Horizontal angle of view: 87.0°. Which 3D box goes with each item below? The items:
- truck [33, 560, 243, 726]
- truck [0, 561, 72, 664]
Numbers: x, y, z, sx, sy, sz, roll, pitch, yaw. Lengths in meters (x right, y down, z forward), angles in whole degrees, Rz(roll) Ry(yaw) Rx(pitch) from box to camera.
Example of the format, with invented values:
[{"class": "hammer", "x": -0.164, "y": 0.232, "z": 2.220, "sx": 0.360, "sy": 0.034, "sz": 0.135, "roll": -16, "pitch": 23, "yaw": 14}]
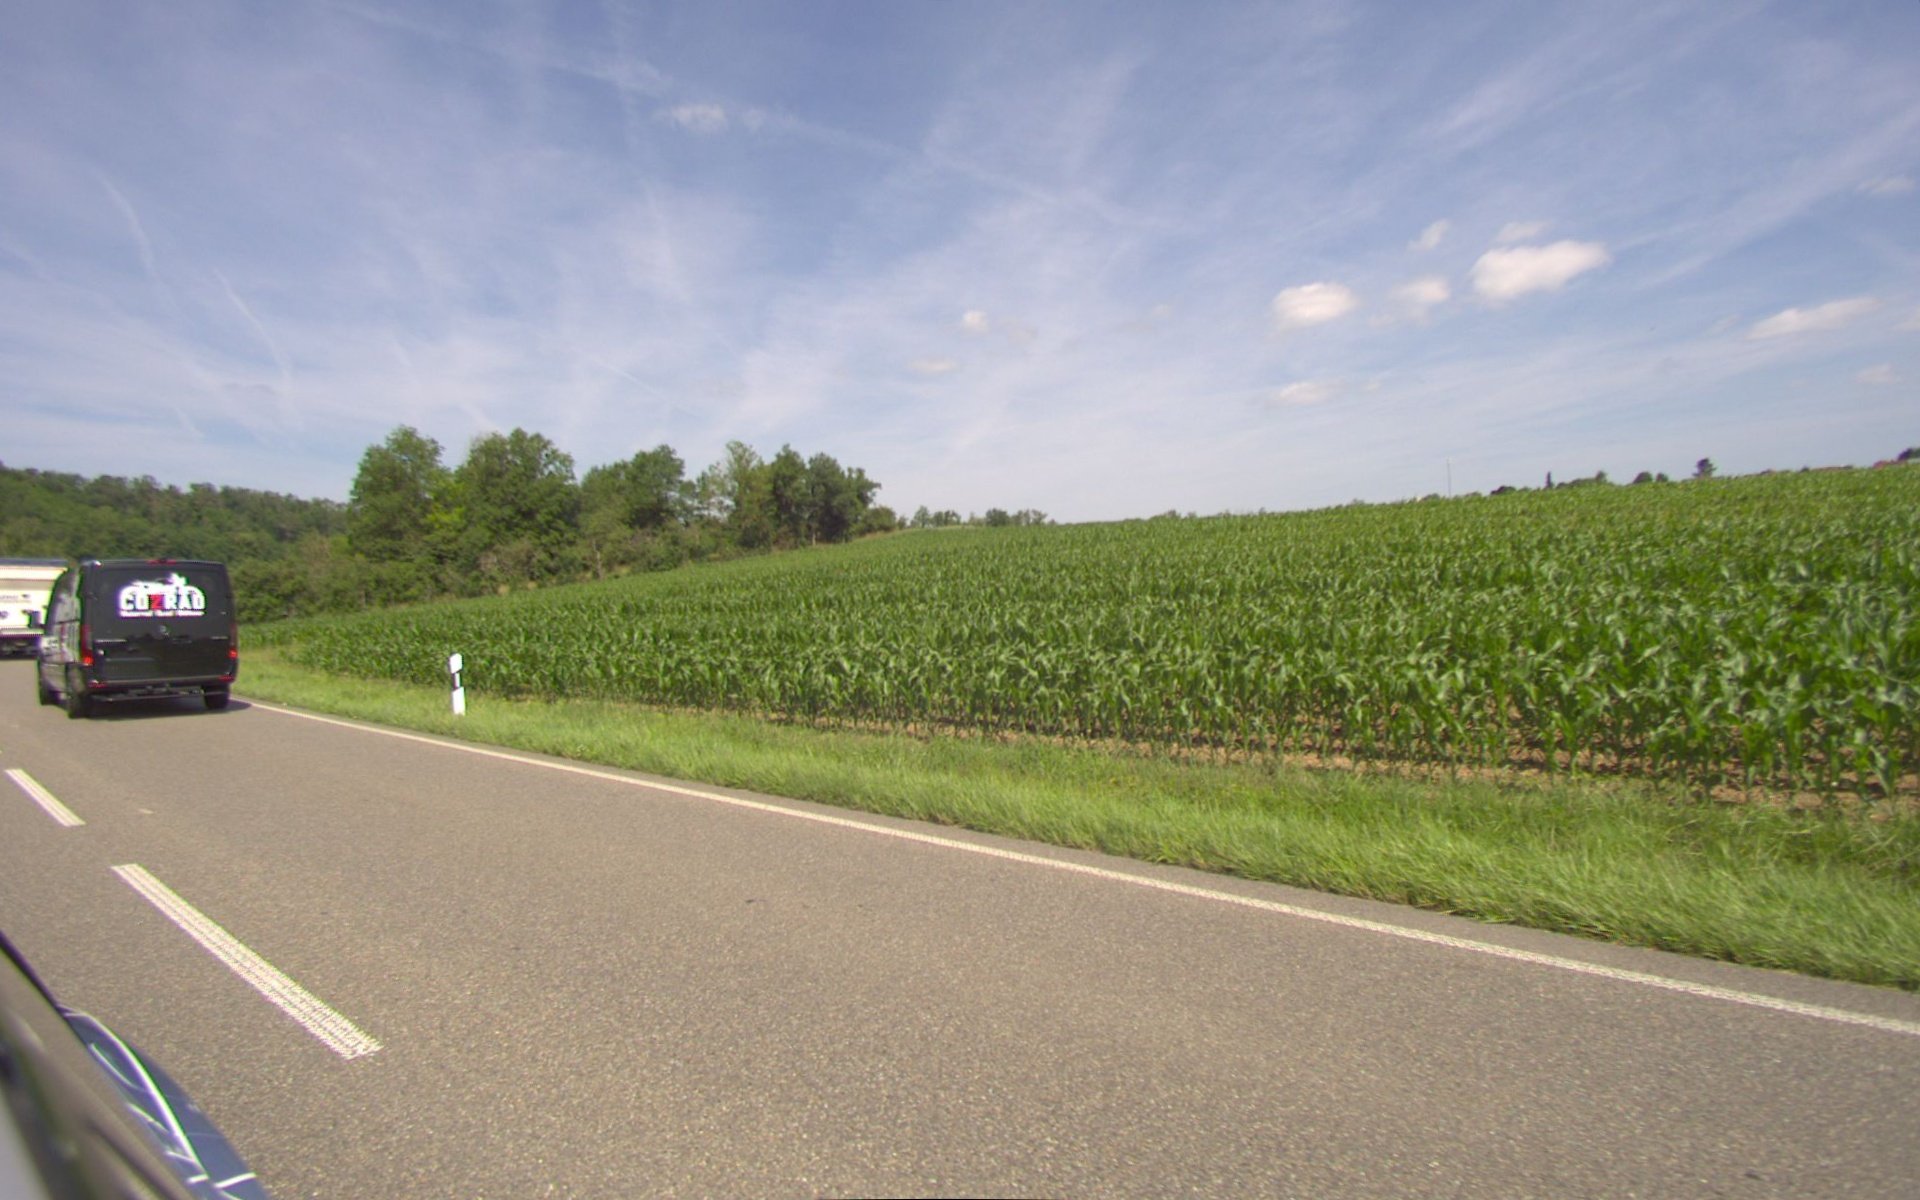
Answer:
[{"class": "truck", "x": -13.711, "y": 0.645, "z": 16.753, "sx": 5.191, "sy": 2.337, "sz": 1.988, "roll": -1, "pitch": -1, "yaw": 43}, {"class": "truck", "x": -36.639, "y": 0.513, "z": 39.137, "sx": 9.730, "sy": 3.606, "sz": 2.710, "roll": -1, "pitch": -1, "yaw": 44}]
